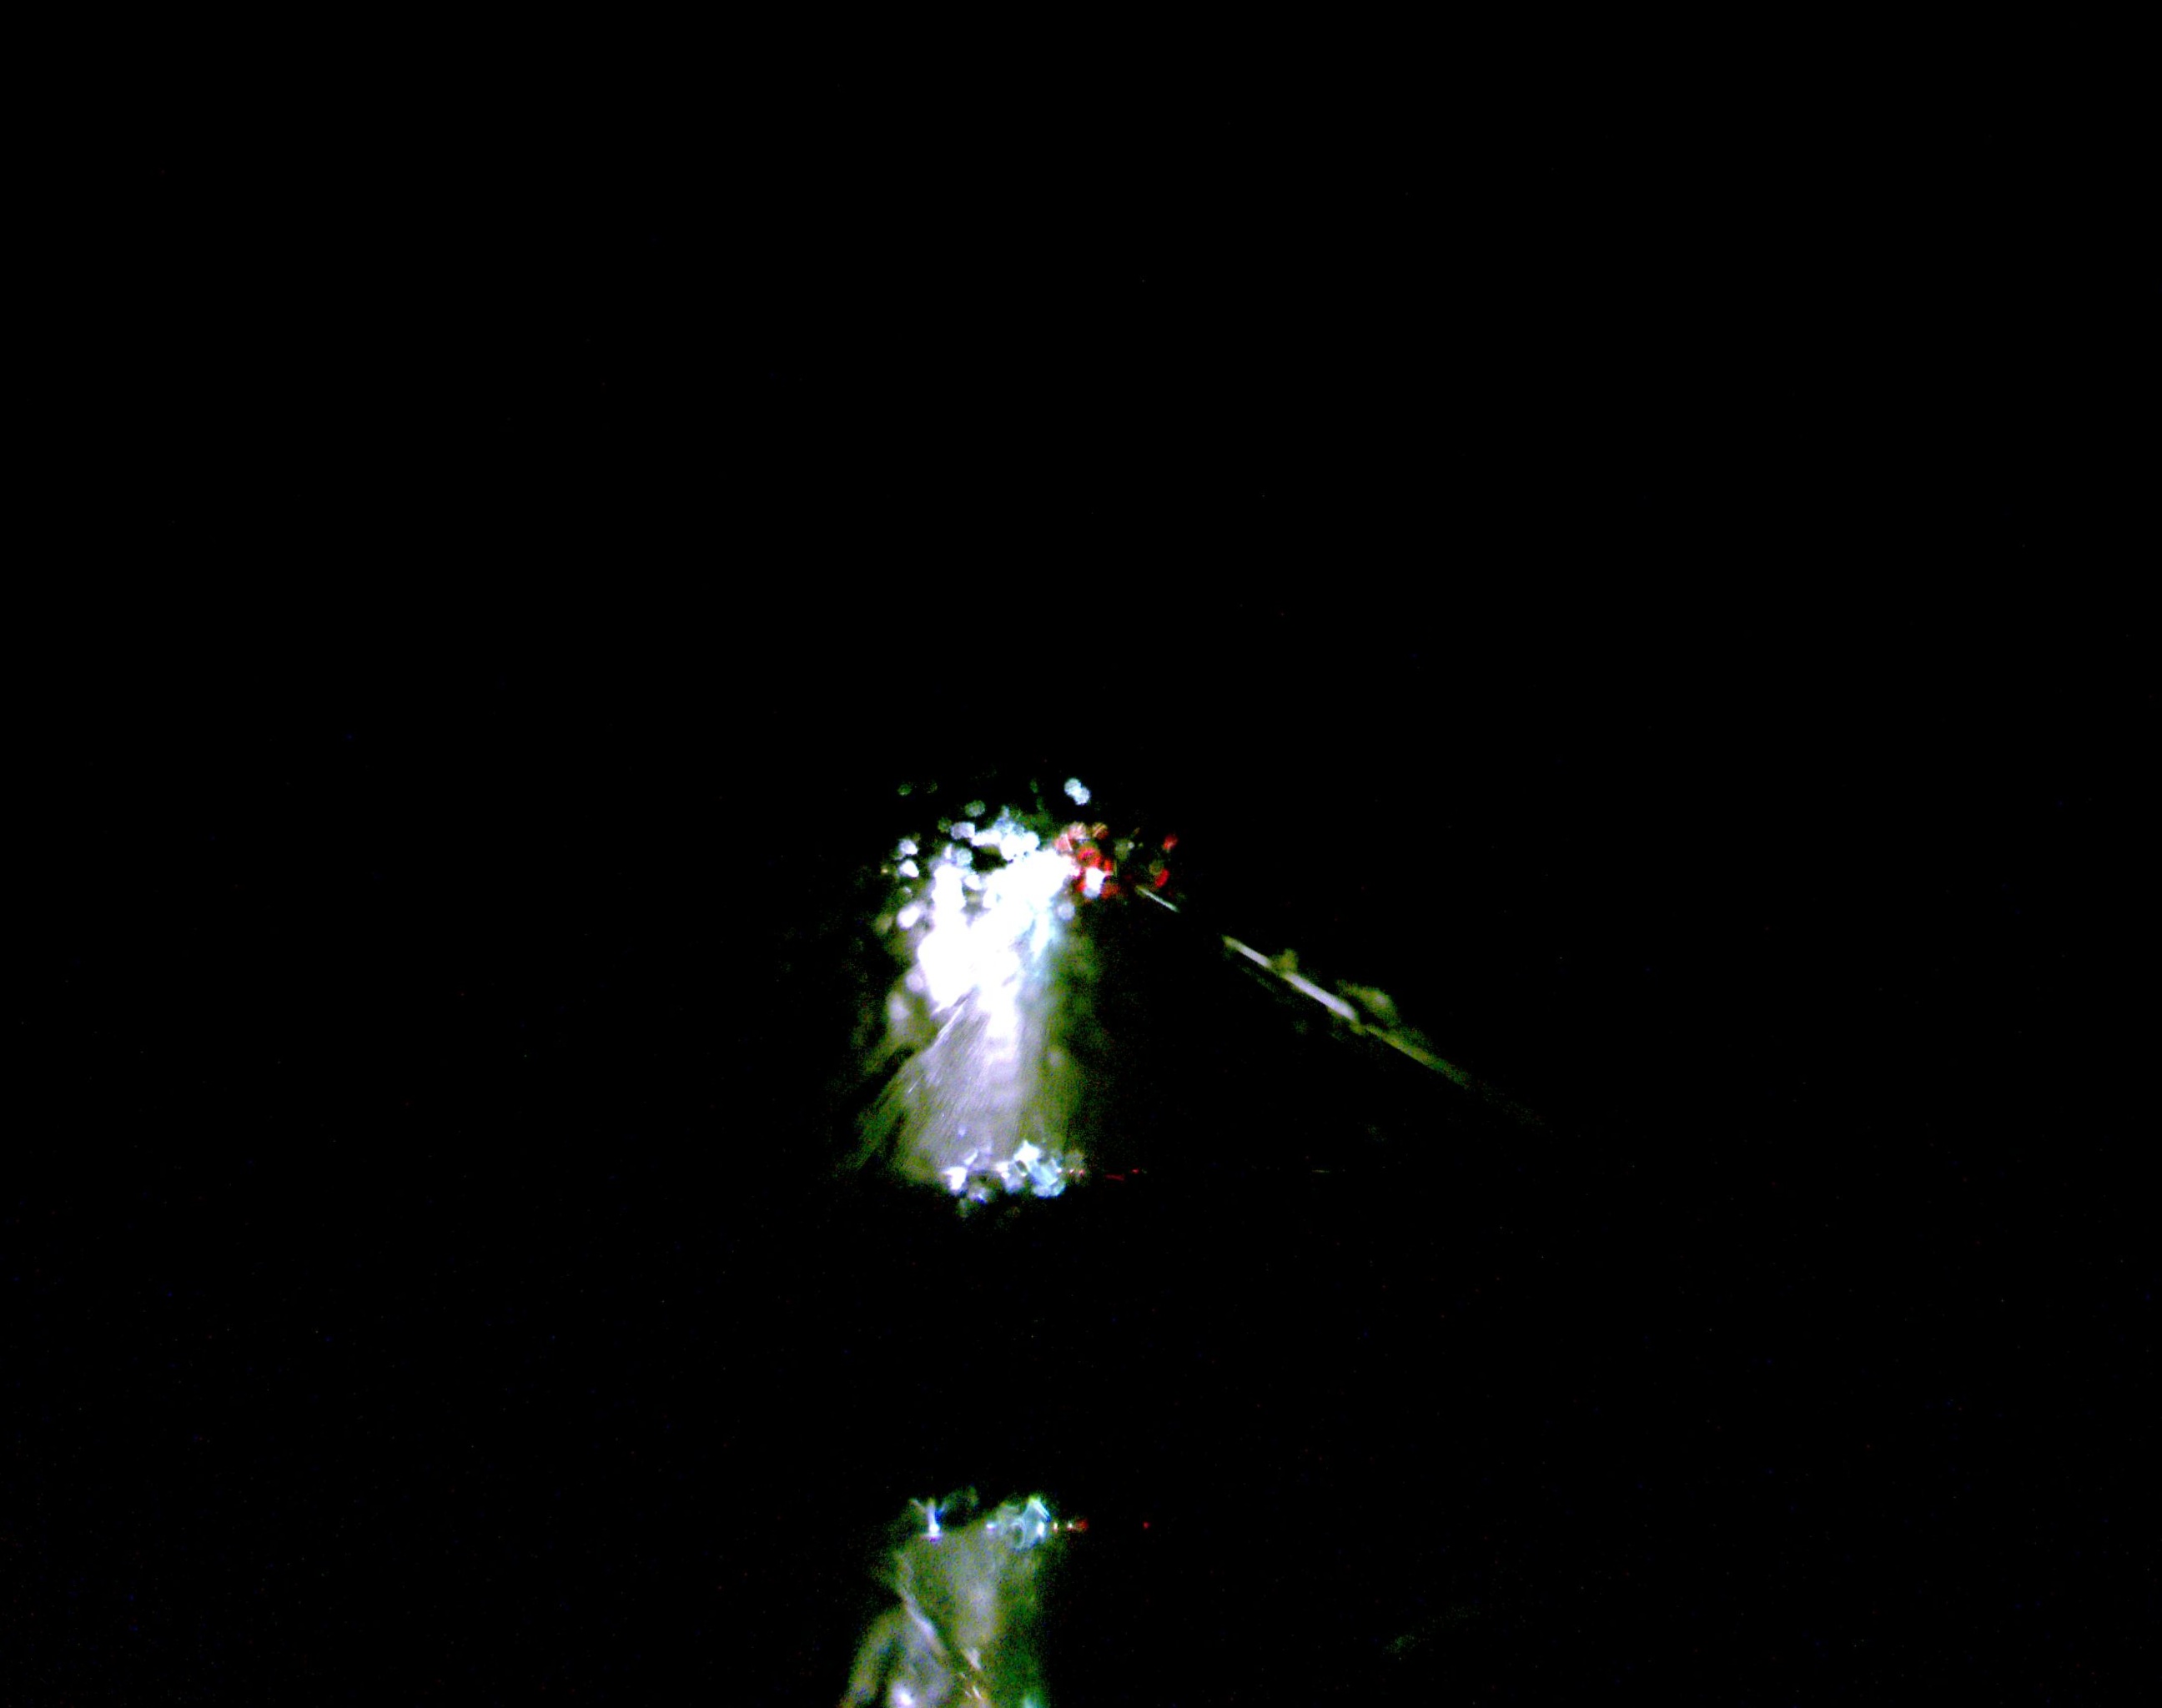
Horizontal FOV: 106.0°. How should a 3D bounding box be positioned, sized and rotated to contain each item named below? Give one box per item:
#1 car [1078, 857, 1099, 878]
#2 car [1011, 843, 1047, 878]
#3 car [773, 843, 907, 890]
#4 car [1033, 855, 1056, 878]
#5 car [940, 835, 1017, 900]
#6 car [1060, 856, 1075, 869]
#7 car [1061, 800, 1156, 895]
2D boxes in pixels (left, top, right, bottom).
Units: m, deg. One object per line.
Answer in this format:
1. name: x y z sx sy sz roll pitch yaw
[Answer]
1. car: 0.719 1.242 72.803 1.734 1.714 3.700 1 -2 2
2. car: -3.201 0.417 50.891 1.987 2.067 3.999 1 -1 0
3. car: -9.893 0.483 33.697 4.900 1.734 1.998 -2 0 -3
4. car: -3.108 1.108 70.515 1.886 1.910 3.793 1 -1 -1
5. car: -2.911 0.330 23.902 1.748 1.734 3.999 1 1 -1
6. car: -1.579 1.049 97.993 1.654 1.481 3.586 1 -1 1
7. car: 0.760 -0.195 25.093 2.531 2.498 5.713 -2 0 0
